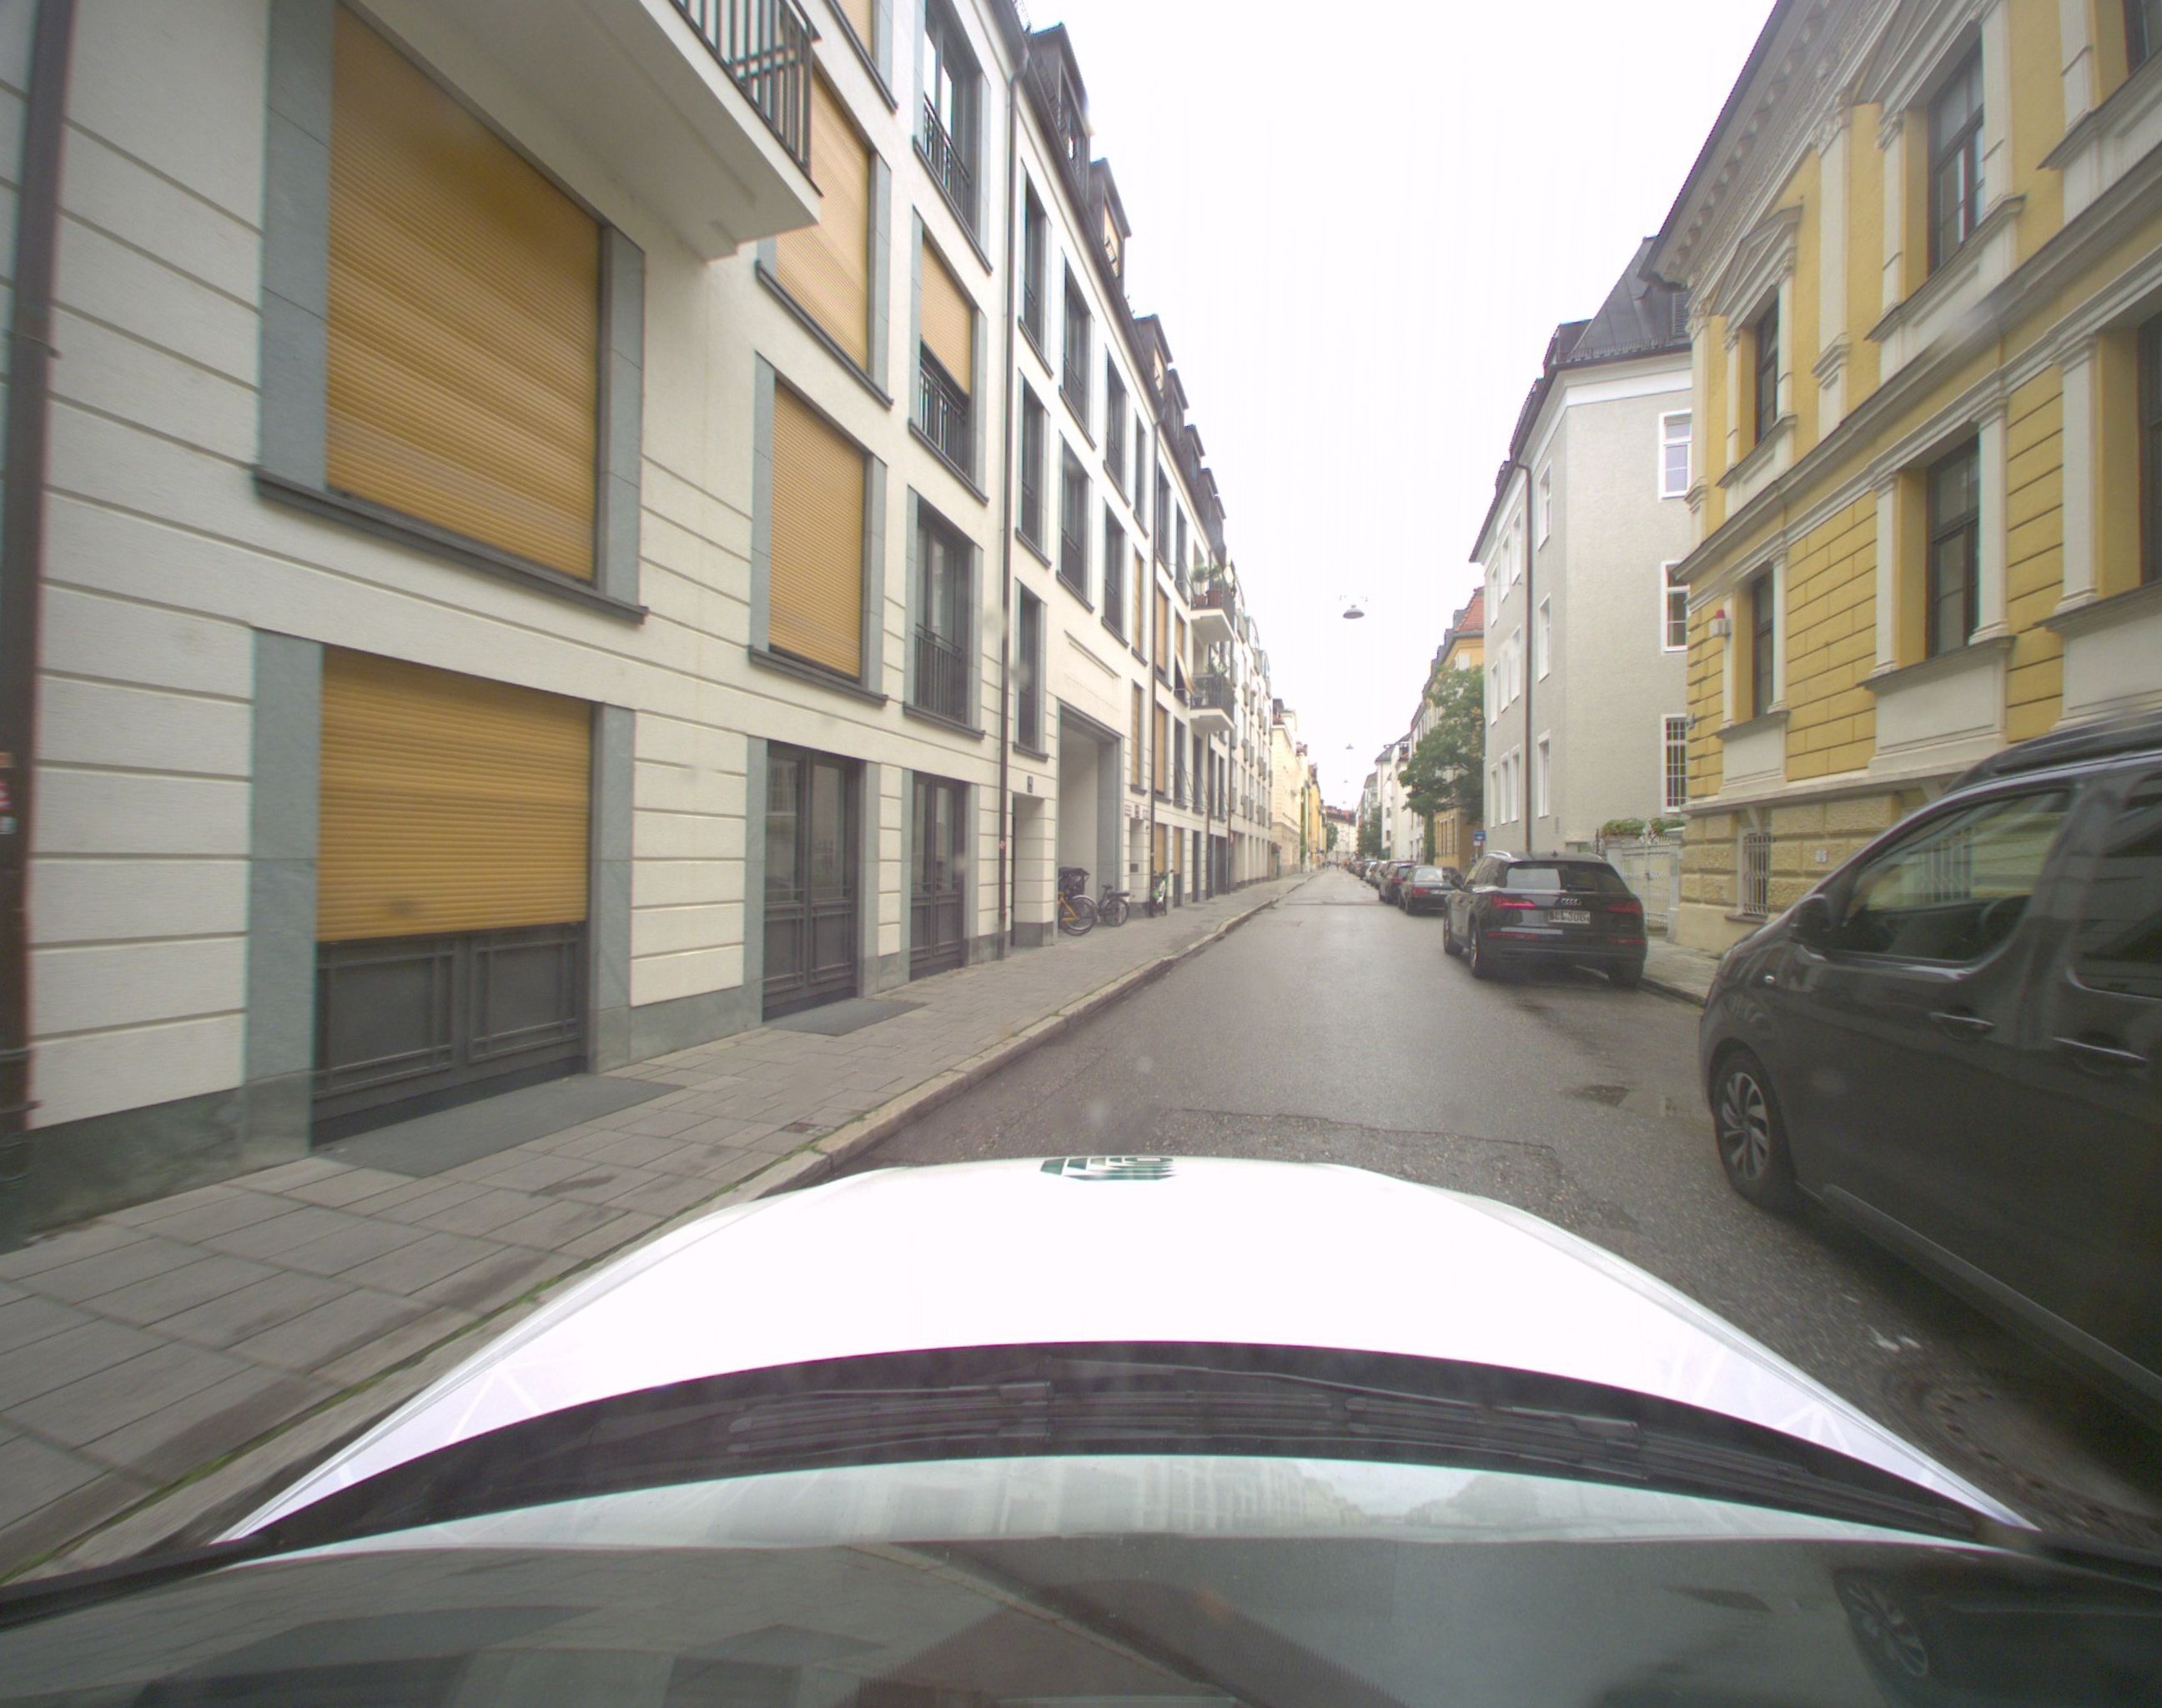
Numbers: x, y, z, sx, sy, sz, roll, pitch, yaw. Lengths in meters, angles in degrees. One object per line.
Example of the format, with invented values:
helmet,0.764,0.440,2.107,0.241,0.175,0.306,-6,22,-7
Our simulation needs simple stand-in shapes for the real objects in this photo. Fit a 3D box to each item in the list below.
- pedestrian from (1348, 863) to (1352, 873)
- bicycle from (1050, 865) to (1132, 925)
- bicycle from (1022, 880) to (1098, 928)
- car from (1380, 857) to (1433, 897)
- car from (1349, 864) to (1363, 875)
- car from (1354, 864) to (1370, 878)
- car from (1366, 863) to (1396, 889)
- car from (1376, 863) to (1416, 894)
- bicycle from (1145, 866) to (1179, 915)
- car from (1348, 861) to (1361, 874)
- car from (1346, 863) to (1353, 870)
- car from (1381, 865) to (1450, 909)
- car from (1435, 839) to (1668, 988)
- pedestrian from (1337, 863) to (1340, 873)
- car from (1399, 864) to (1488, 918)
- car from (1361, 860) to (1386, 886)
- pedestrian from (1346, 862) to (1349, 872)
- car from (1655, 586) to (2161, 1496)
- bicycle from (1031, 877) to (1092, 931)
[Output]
pedestrian,45.197,2.299,136.813,0.534,1.654,0.378,0,0,18
bicycle,0.226,0.839,16.787,1.690,1.193,0.377,2,1,-29
bicycle,-0.403,0.968,15.739,1.389,0.888,0.378,2,1,-17
car,13.398,0.919,33.690,1.688,1.546,3.790,1,0,17
car,39.305,2.201,116.475,1.743,1.630,3.608,0,0,17
car,33.752,2.030,97.991,1.688,1.623,3.790,1,0,17
car,20.206,1.449,54.951,1.688,1.623,3.790,1,0,17
car,16.620,1.271,43.104,1.688,1.546,3.790,1,0,17
bicycle,2.032,0.897,20.248,0.337,1.146,2.201,0,-2,19
car,40.907,2.062,121.984,1.688,1.917,3.790,1,0,17
car,61.261,2.871,186.093,1.354,1.656,3.481,0,0,16
car,11.652,1.086,28.596,1.879,1.376,3.957,1,0,17
car,6.274,0.682,11.436,1.879,1.641,4.340,1,0,17
pedestrian,44.132,2.377,139.441,0.534,1.654,0.378,0,0,18
car,10.332,1.000,23.454,1.879,1.376,3.812,1,0,17
car,23.241,1.488,64.836,1.688,1.900,3.790,1,0,17
pedestrian,45.837,2.276,140.069,0.534,1.654,0.378,0,0,18
car,3.373,0.426,1.828,1.978,1.932,4.680,3,0,17
bicycle,-0.358,0.923,15.042,1.065,0.947,0.306,2,1,-17
